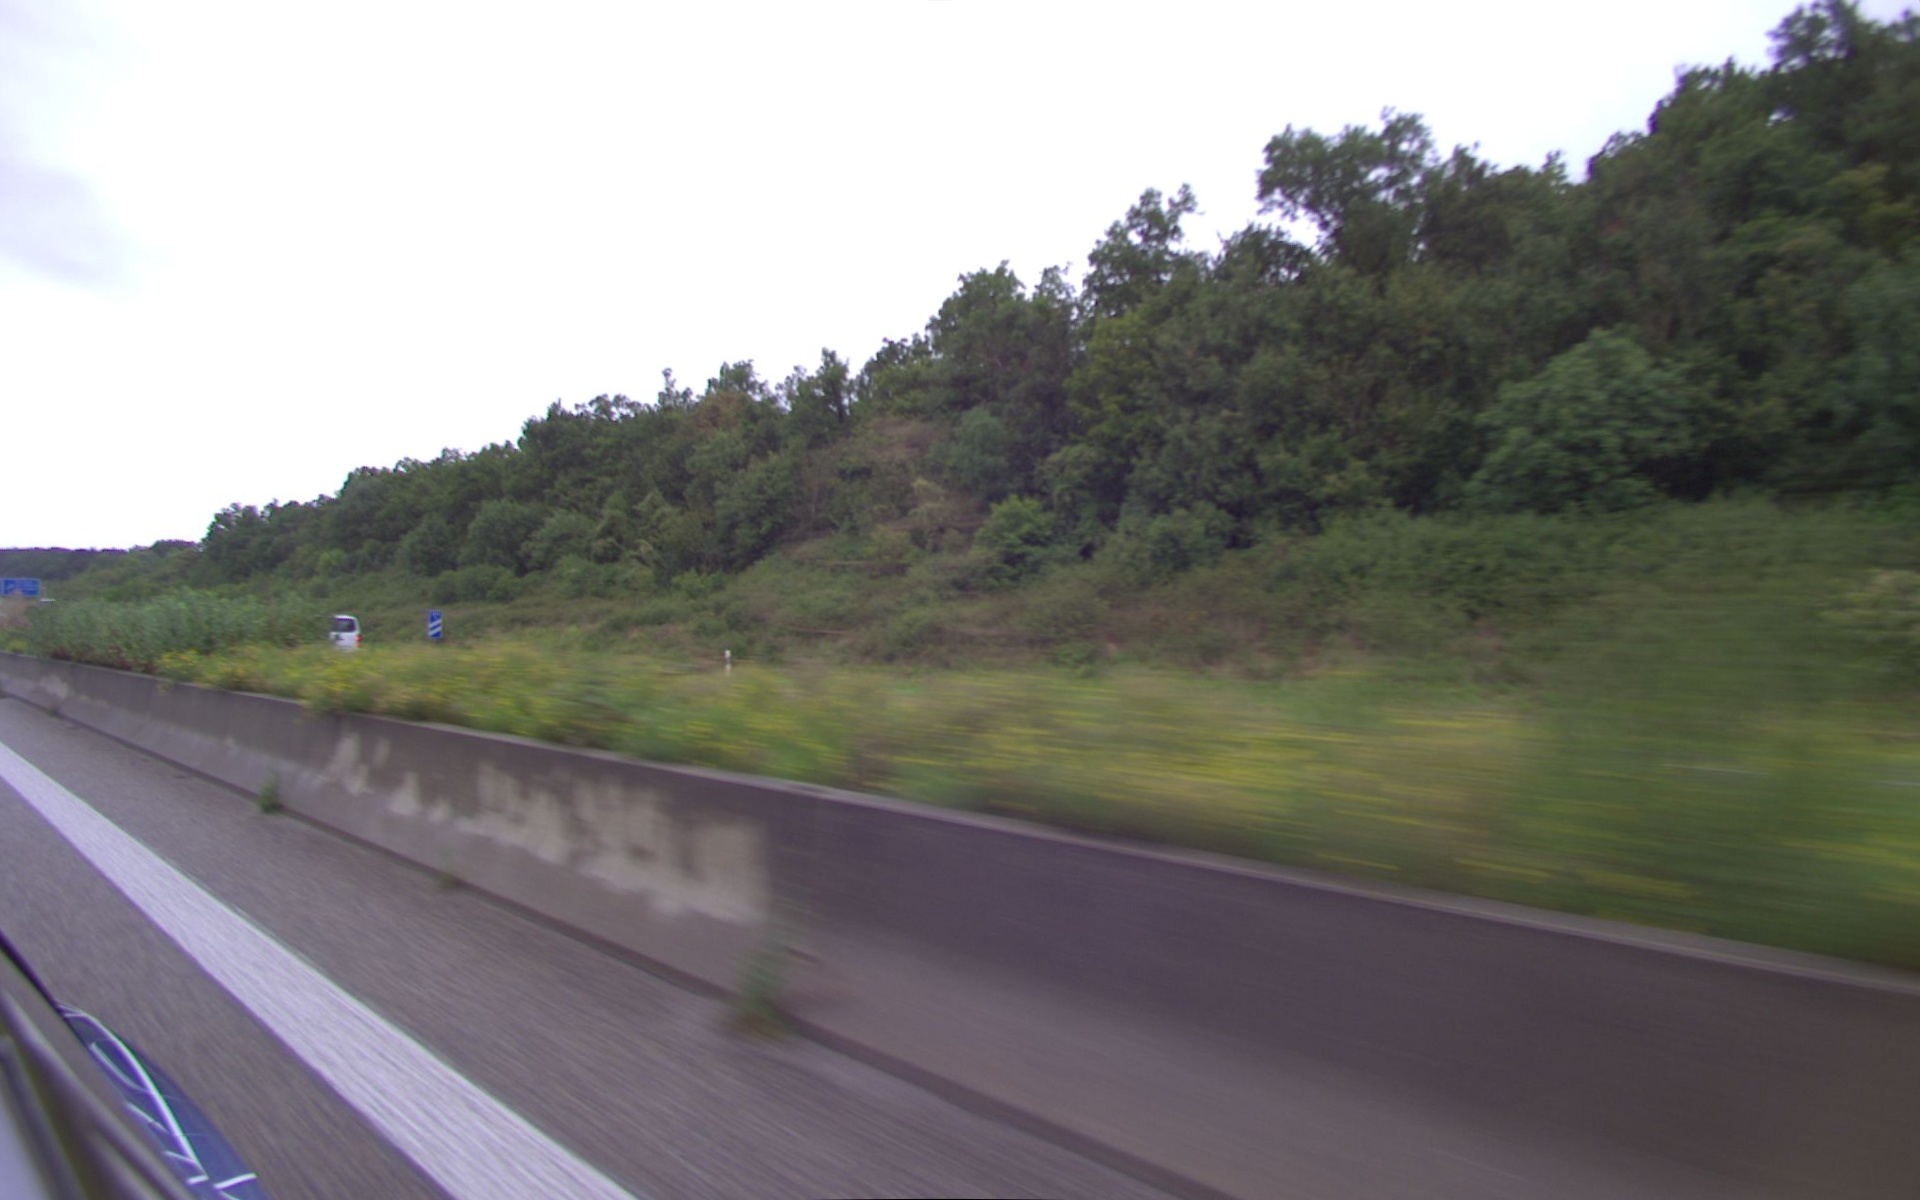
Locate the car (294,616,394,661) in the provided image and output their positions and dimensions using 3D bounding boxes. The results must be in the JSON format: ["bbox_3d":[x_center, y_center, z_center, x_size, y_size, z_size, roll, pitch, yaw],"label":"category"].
[{"bbox_3d":[-22.034,1.357,36.142,3.998,1.519,1.972,-2,-2,41],"label":"car"}]

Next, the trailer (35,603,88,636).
[{"bbox_3d":[-99.764,2.210,112.311,13.254,3.512,2.955,-1,-2,42],"label":"trailer"}]

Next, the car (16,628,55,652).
[{"bbox_3d":[-79.466,3.400,86.991,4.654,2.029,1.972,-1,-3,42],"label":"car"}]
